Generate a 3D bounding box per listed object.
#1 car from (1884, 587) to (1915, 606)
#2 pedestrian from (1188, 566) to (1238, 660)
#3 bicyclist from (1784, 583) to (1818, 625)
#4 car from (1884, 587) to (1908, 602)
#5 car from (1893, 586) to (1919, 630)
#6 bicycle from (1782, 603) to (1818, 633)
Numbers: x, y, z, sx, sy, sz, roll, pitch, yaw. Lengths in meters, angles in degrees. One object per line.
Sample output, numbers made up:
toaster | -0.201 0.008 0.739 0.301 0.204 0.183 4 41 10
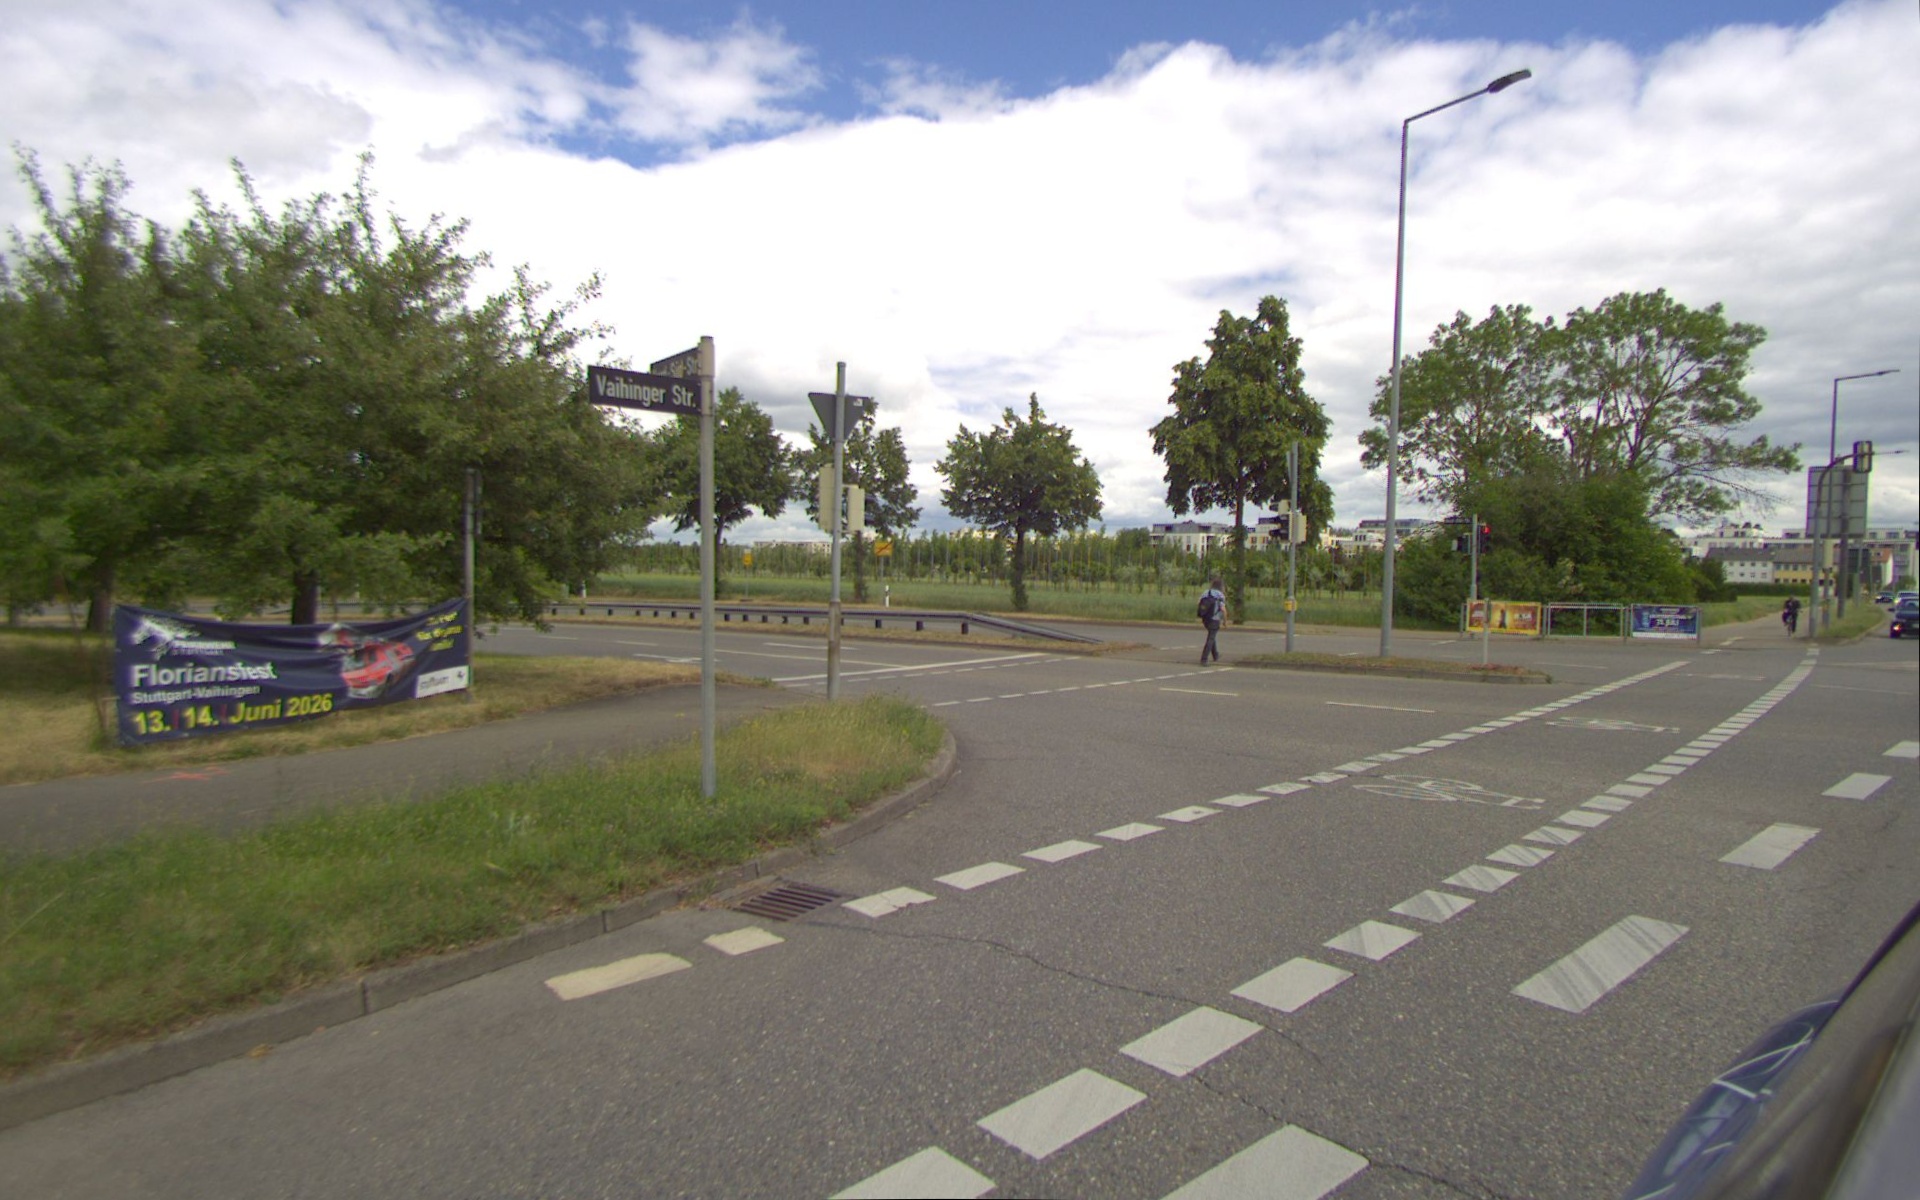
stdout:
car | 73.668 -0.275 79.322 1.731 1.459 4.299 1 1 44
pedestrian | 5.228 0.260 20.954 0.750 1.907 0.802 0 0 -7
bicyclist | 35.797 0.158 43.085 1.014 1.728 1.183 3 2 43
car | 107.463 -0.621 116.226 1.866 1.716 4.306 1 1 42
car | 33.539 0.252 34.870 4.294 1.459 1.733 0 1 -43
bicycle | 35.618 0.760 42.899 1.014 1.148 2.635 3 2 42
